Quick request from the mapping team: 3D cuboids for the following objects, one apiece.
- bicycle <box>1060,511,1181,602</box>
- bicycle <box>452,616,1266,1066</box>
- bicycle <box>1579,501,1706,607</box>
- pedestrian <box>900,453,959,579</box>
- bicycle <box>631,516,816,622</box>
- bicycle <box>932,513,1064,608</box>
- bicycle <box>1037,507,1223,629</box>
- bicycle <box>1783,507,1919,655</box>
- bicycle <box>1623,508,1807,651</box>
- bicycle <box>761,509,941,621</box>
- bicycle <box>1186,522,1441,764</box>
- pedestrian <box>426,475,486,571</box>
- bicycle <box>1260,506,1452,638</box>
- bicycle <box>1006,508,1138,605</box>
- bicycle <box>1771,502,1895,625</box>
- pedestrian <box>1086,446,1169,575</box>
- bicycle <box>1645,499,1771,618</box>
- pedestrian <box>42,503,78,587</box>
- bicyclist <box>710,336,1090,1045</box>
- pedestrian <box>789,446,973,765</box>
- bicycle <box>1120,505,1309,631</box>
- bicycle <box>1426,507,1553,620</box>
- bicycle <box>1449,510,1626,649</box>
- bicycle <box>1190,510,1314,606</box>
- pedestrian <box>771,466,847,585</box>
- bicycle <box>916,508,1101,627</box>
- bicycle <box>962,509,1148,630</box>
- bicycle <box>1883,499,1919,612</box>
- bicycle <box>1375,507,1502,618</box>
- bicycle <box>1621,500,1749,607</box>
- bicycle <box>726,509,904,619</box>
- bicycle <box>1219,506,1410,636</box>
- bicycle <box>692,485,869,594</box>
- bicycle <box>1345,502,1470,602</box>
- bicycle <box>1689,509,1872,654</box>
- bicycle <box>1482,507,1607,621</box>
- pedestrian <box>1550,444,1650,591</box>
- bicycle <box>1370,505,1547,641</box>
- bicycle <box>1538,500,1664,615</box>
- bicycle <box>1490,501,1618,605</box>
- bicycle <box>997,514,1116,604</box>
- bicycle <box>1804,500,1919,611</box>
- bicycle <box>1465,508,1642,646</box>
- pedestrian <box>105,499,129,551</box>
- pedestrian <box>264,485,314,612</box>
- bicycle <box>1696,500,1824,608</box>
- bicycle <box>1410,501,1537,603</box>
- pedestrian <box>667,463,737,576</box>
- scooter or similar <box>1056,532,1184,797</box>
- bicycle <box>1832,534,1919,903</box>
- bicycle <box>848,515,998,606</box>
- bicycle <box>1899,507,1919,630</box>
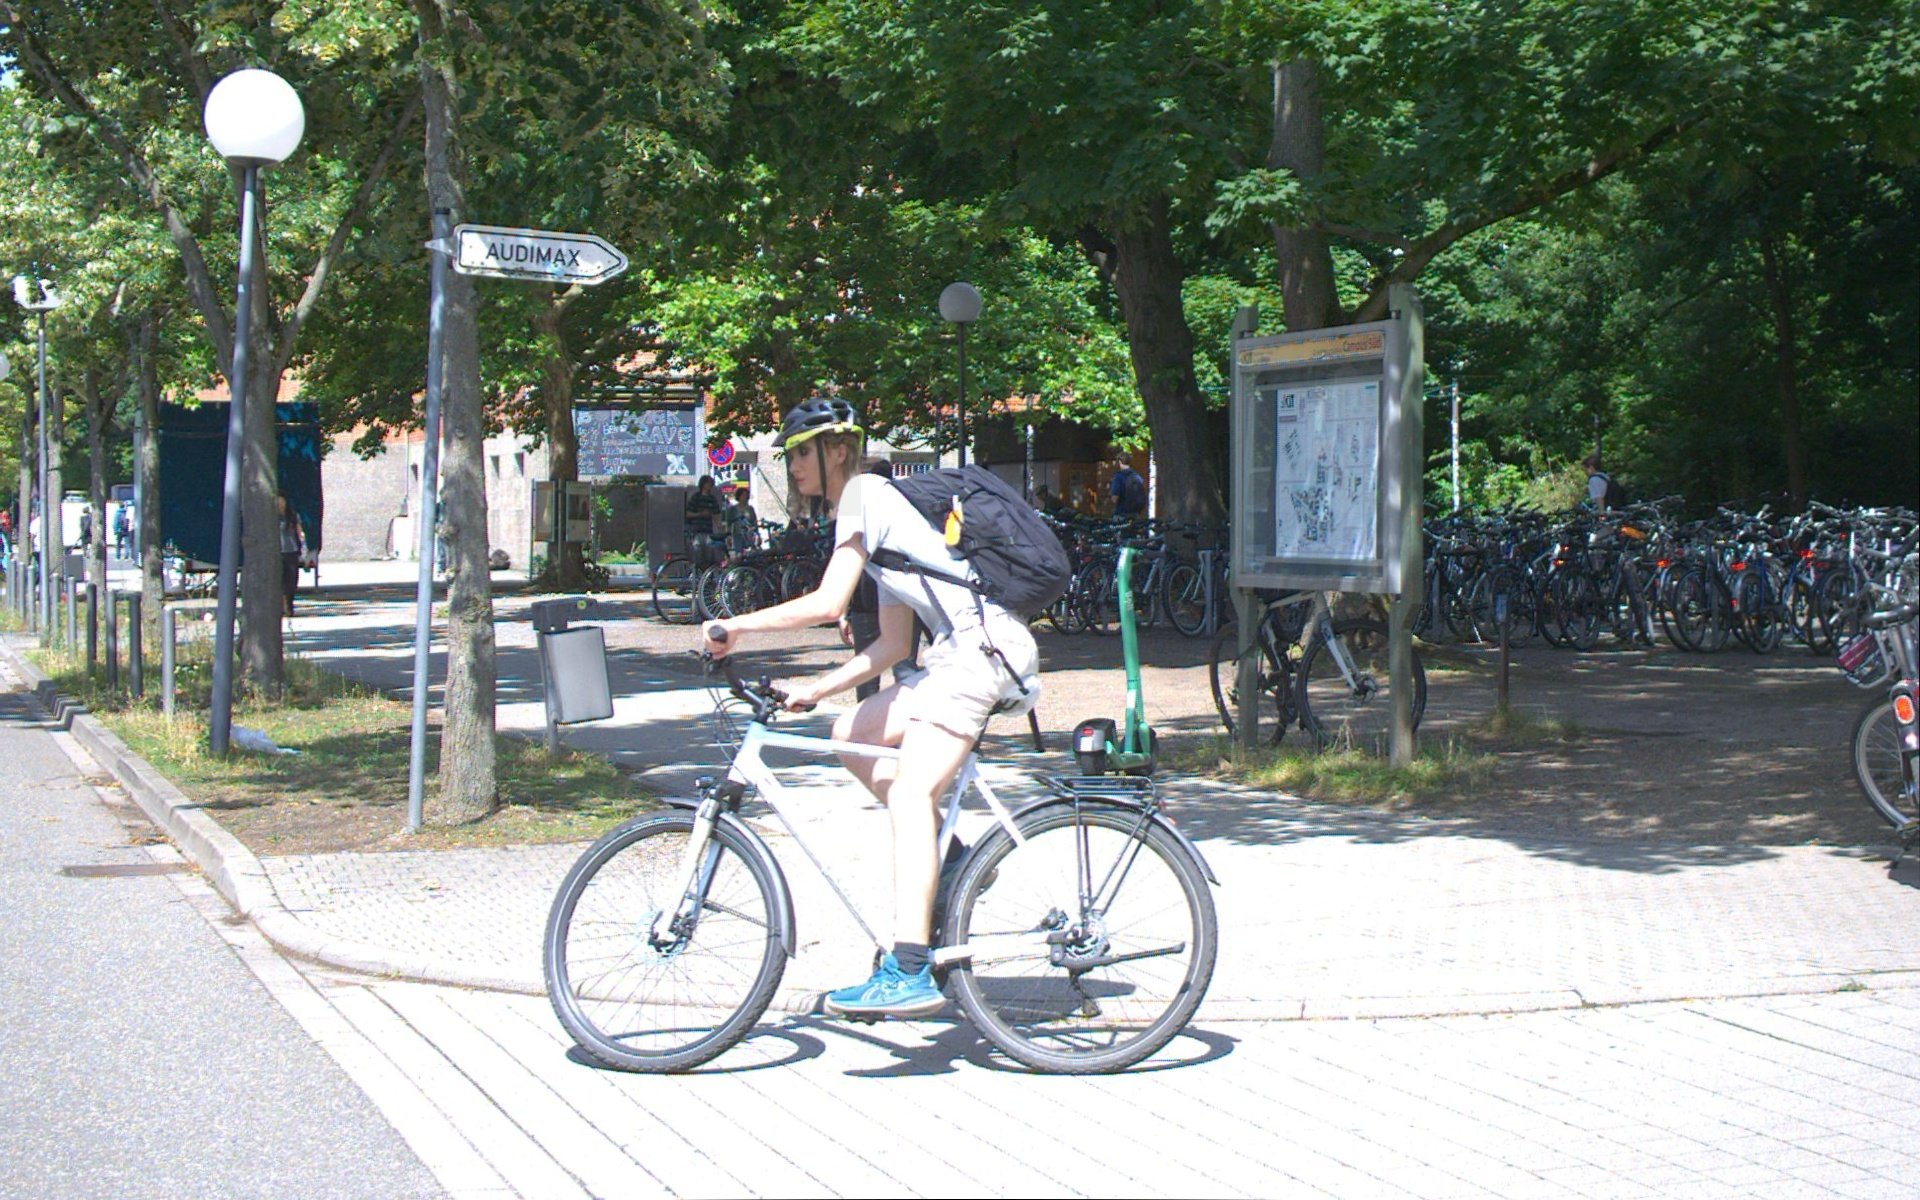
[{"bbox_3d":[1.979,-0.540,42.203,0.474,1.080,1.695,3,3,43],"label":"bicycle"},{"bbox_3d":[-0.243,0.625,9.095,2.066,1.104,0.605,-1,2,6],"label":"bicycle"},{"bbox_3d":[7.236,-0.500,36.427,0.474,1.080,1.695,3,3,43],"label":"bicycle"},{"bbox_3d":[-0.430,-1.192,48.753,0.607,1.768,0.659,-1,3,-26],"label":"pedestrian"},{"bbox_3d":[-2.531,-0.347,36.968,2.024,1.104,0.503,-1,3,-36],"label":"bicycle"},{"bbox_3d":[0.459,-0.483,40.991,0.474,1.080,1.855,3,3,41],"label":"bicycle"},{"bbox_3d":[1.610,-0.315,32.286,2.025,1.104,0.502,-2,3,-45],"label":"bicycle"},{"bbox_3d":[7.178,-0.169,26.944,0.502,1.104,2.000,3,3,42],"label":"bicycle"},{"bbox_3d":[6.115,-0.183,27.786,0.502,1.104,2.000,3,3,42],"label":"bicycle"},{"bbox_3d":[-1.099,-0.373,35.136,2.025,1.104,0.502,-2,3,-45],"label":"bicycle"},{"bbox_3d":[1.737,0.185,17.178,0.392,1.104,1.840,0,3,-24],"label":"bicycle"},{"bbox_3d":[-9.369,-1.438,63.904,0.767,1.768,0.907,-1,3,-35],"label":"pedestrian"},{"bbox_3d":[3.481,-0.265,30.087,2.025,1.104,0.502,-2,3,-45],"label":"bicycle"},{"bbox_3d":[1.317,-0.519,40.124,0.474,1.080,1.855,3,3,41],"label":"bicycle"},{"bbox_3d":[8.076,-0.351,31.750,0.473,1.080,1.855,2,3,35],"label":"bicycle"},{"bbox_3d":[2.360,-1.275,48.543,0.767,1.796,0.907,-1,3,-35],"label":"pedestrian"},{"bbox_3d":[7.107,-0.410,32.627,0.473,1.080,1.855,2,3,35],"label":"bicycle"},{"bbox_3d":[-16.542,-1.012,63.158,0.620,1.514,0.736,0,2,-15],"label":"pedestrian"},{"bbox_3d":[-0.143,0.229,9.077,0.896,1.795,0.605,-1,2,6],"label":"bicyclist"},{"bbox_3d":[-0.435,0.012,18.662,0.725,1.678,0.874,-1,2,-21],"label":"pedestrian"},{"bbox_3d":[2.342,-0.307,31.394,2.025,1.104,0.502,-2,3,-45],"label":"bicycle"},{"bbox_3d":[5.311,-0.382,34.424,0.473,1.080,1.855,2,3,35],"label":"bicycle"},{"bbox_3d":[4.870,-0.190,28.914,0.502,1.104,2.026,2,3,40],"label":"bicycle"},{"bbox_3d":[3.403,-0.503,40.036,0.474,1.080,1.695,3,3,43],"label":"bicycle"},{"bbox_3d":[-2.275,-1.126,51.669,0.767,1.768,0.907,-1,3,-35],"label":"pedestrian"},{"bbox_3d":[0.478,-0.331,33.214,2.025,1.104,0.502,-2,3,-45],"label":"bicycle"},{"bbox_3d":[0.918,-0.302,32.761,2.025,1.104,0.502,-2,3,-45],"label":"bicycle"},{"bbox_3d":[9.701,-0.448,33.729,0.474,1.080,1.695,3,3,43],"label":"bicycle"},{"bbox_3d":[4.864,-0.393,34.834,0.473,1.080,1.855,2,3,35],"label":"bicycle"},{"bbox_3d":[7.580,-0.497,35.897,0.474,1.080,1.695,3,3,43],"label":"bicycle"},{"bbox_3d":[-1.490,-0.387,35.669,2.025,1.104,0.502,-2,3,-45],"label":"bicycle"},{"bbox_3d":[3.162,-0.270,30.531,2.025,1.104,0.502,-2,3,-45],"label":"bicycle"},{"bbox_3d":[-1.867,-0.650,36.025,2.025,1.104,0.502,-2,3,-45],"label":"bicycle"},{"bbox_3d":[5.022,-0.550,38.537,0.474,1.080,1.695,3,3,43],"label":"bicycle"},{"bbox_3d":[6.548,-0.166,27.376,0.502,1.104,2.000,3,3,42],"label":"bicycle"},{"bbox_3d":[5.824,-0.373,34.189,0.473,1.080,1.855,2,3,35],"label":"bicycle"},{"bbox_3d":[7.829,-1.018,42.049,0.767,1.768,0.907,-1,3,-35],"label":"pedestrian"},{"bbox_3d":[4.278,-0.249,29.407,0.502,1.104,2.026,2,3,40],"label":"bicycle"},{"bbox_3d":[6.298,-0.434,33.722,0.473,1.080,1.855,2,3,35],"label":"bicycle"},{"bbox_3d":[6.385,-0.515,36.906,0.474,1.080,1.695,3,3,43],"label":"bicycle"},{"bbox_3d":[1.210,-0.525,42.867,0.474,1.080,1.695,3,3,43],"label":"bicycle"},{"bbox_3d":[9.150,-0.463,34.603,0.474,1.080,1.695,3,3,43],"label":"bicycle"},{"bbox_3d":[4.990,-0.211,28.809,0.502,1.104,2.026,2,3,40],"label":"bicycle"},{"bbox_3d":[-25.083,-2.234,102.311,0.569,1.514,0.841,-1,2,-23],"label":"pedestrian"},{"bbox_3d":[-8.142,-0.633,41.727,0.569,1.514,0.841,0,2,-9],"label":"pedestrian"},{"bbox_3d":[8.266,-0.484,35.478,0.474,1.080,1.695,3,3,43],"label":"bicycle"},{"bbox_3d":[5.634,-0.533,37.676,0.474,1.080,1.695,3,3,43],"label":"bicycle"},{"bbox_3d":[-4.088,-1.284,54.465,0.916,1.768,0.786,-1,2,-20],"label":"pedestrian"},{"bbox_3d":[0.767,0.284,16.250,0.292,1.190,1.184,0,2,18],"label":"scooter or similar"},{"bbox_3d":[3.429,0.369,11.980,0.637,1.155,1.629,-1,2,11],"label":"bicycle"},{"bbox_3d":[-0.442,-0.487,41.705,1.853,1.080,0.474,-1,3,-34],"label":"bicycle"},{"bbox_3d":[9.030,-0.298,31.004,0.473,1.080,1.855,2,3,35],"label":"bicycle"}]
